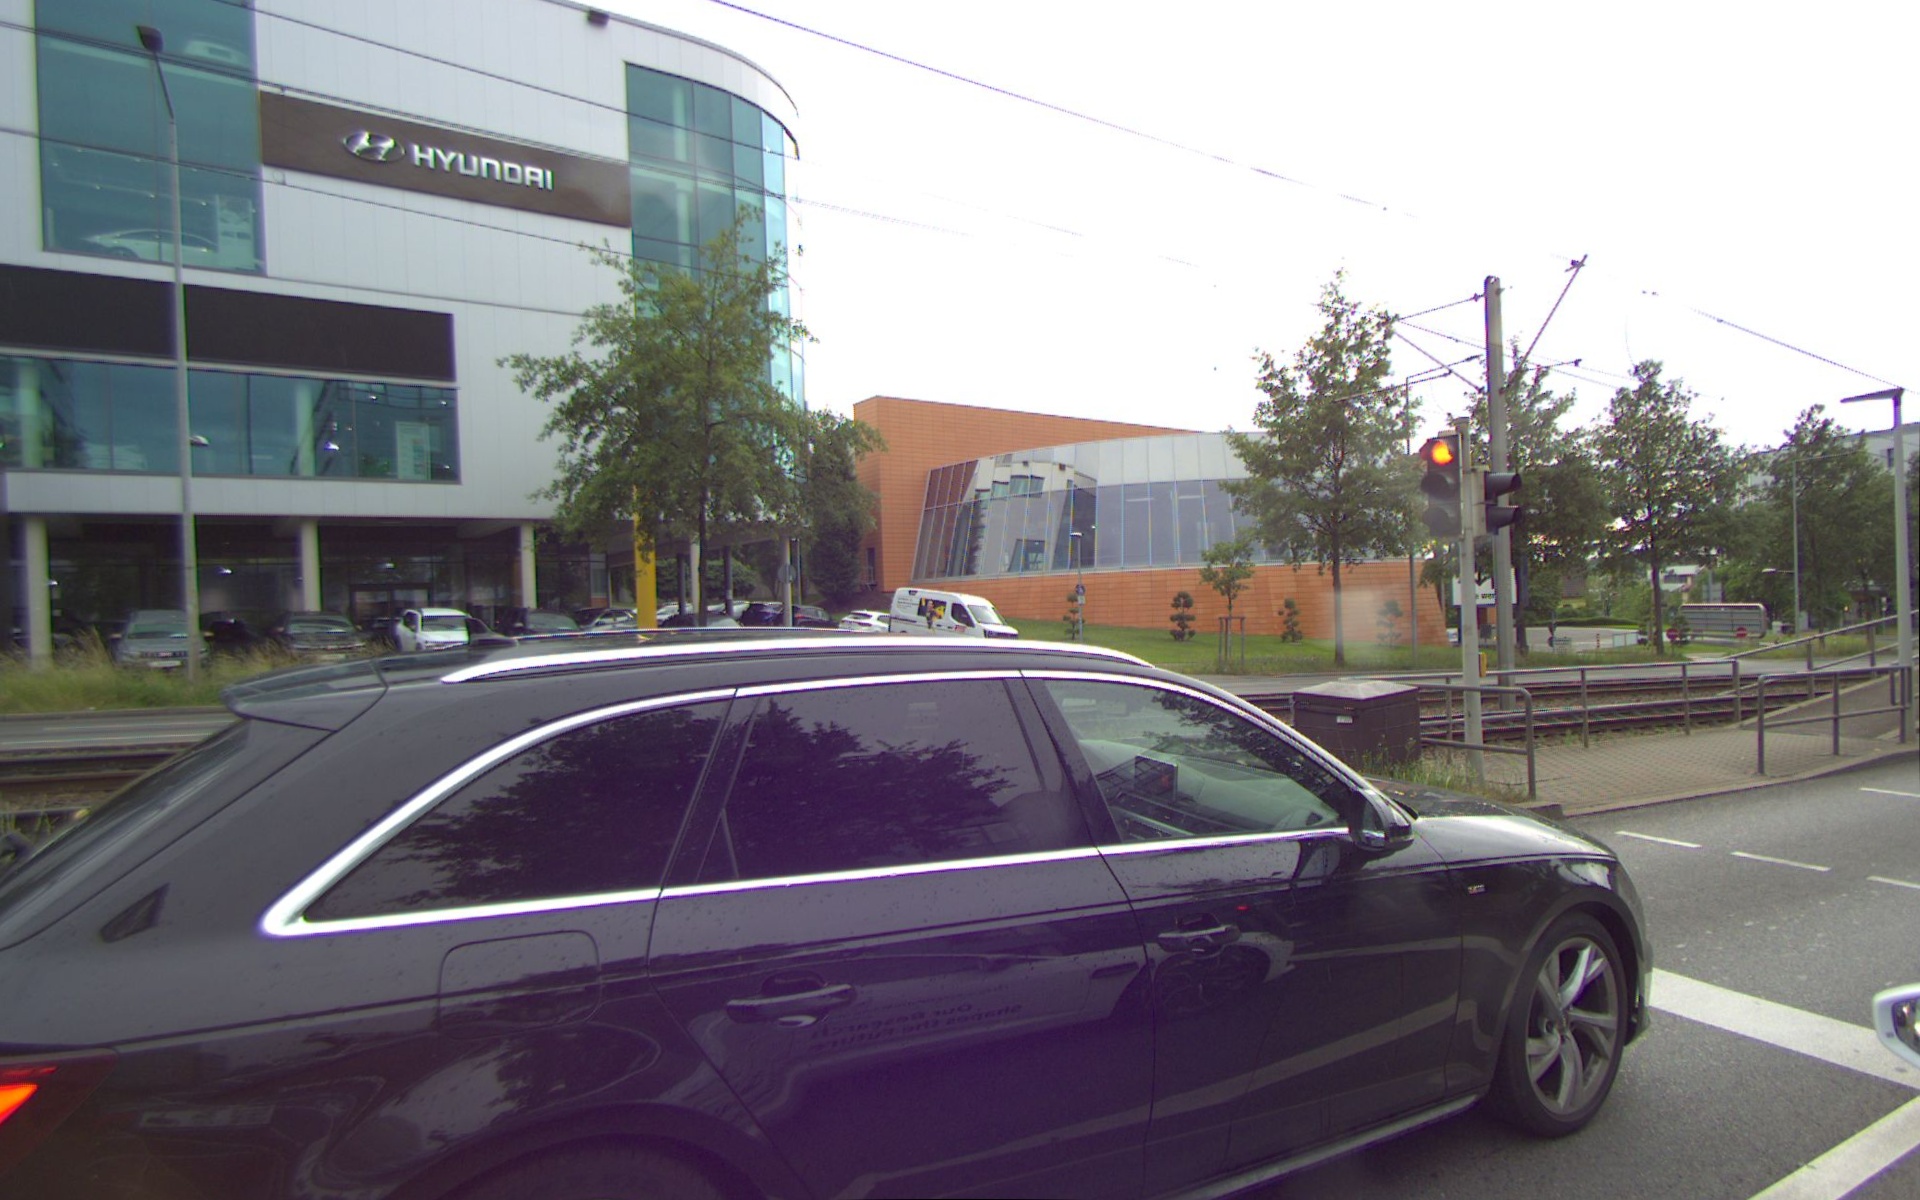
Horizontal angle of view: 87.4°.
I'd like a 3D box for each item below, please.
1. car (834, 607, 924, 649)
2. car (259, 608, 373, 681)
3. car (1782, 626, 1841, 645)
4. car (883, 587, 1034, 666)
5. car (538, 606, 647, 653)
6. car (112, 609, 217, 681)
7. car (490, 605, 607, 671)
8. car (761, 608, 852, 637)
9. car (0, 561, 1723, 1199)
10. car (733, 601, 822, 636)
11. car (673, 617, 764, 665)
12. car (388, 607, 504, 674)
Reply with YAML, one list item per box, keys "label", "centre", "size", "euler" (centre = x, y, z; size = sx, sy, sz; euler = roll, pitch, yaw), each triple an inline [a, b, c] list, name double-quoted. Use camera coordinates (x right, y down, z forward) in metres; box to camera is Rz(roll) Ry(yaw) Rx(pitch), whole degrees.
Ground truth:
- label: "car"
  centre: [-3.351, 1.160, 42.157]
  size: [1.703, 1.688, 3.734]
  euler: [1, -1, 38]
- label: "car"
  centre: [-16.968, 1.105, 26.388]
  size: [1.984, 1.571, 4.324]
  euler: [1, 1, -40]
- label: "car"
  centre: [66.603, 2.777, 78.578]
  size: [1.408, 1.405, 3.371]
  euler: [0, 0, -13]
- label: "car"
  centre: [-0.131, 0.914, 38.107]
  size: [5.544, 2.616, 2.392]
  euler: [3, 1, 43]
- label: "car"
  centre: [-12.844, 1.011, 35.337]
  size: [1.691, 1.572, 3.587]
  euler: [0, -1, 20]
- label: "car"
  centre: [-19.878, 1.059, 25.061]
  size: [1.917, 1.479, 3.974]
  euler: [1, 1, -40]
- label: "car"
  centre: [-12.293, 1.077, 29.861]
  size: [1.984, 1.637, 4.324]
  euler: [1, 1, -40]
- label: "car"
  centre: [-7.229, 1.062, 47.511]
  size: [1.969, 1.297, 3.982]
  euler: [0, -1, 39]
- label: "car"
  centre: [0.118, 0.733, 2.890]
  size: [4.461, 1.486, 1.772]
  euler: [1, -1, -31]
- label: "car"
  centre: [-8.880, 0.907, 49.076]
  size: [1.969, 1.653, 3.982]
  euler: [0, -1, 39]
- label: "car"
  centre: [-7.703, 1.245, 31.836]
  size: [1.565, 1.409, 3.619]
  euler: [0, -1, -36]
- label: "car"
  centre: [-14.511, 1.074, 28.243]
  size: [1.984, 1.571, 4.324]
  euler: [1, 1, -40]
